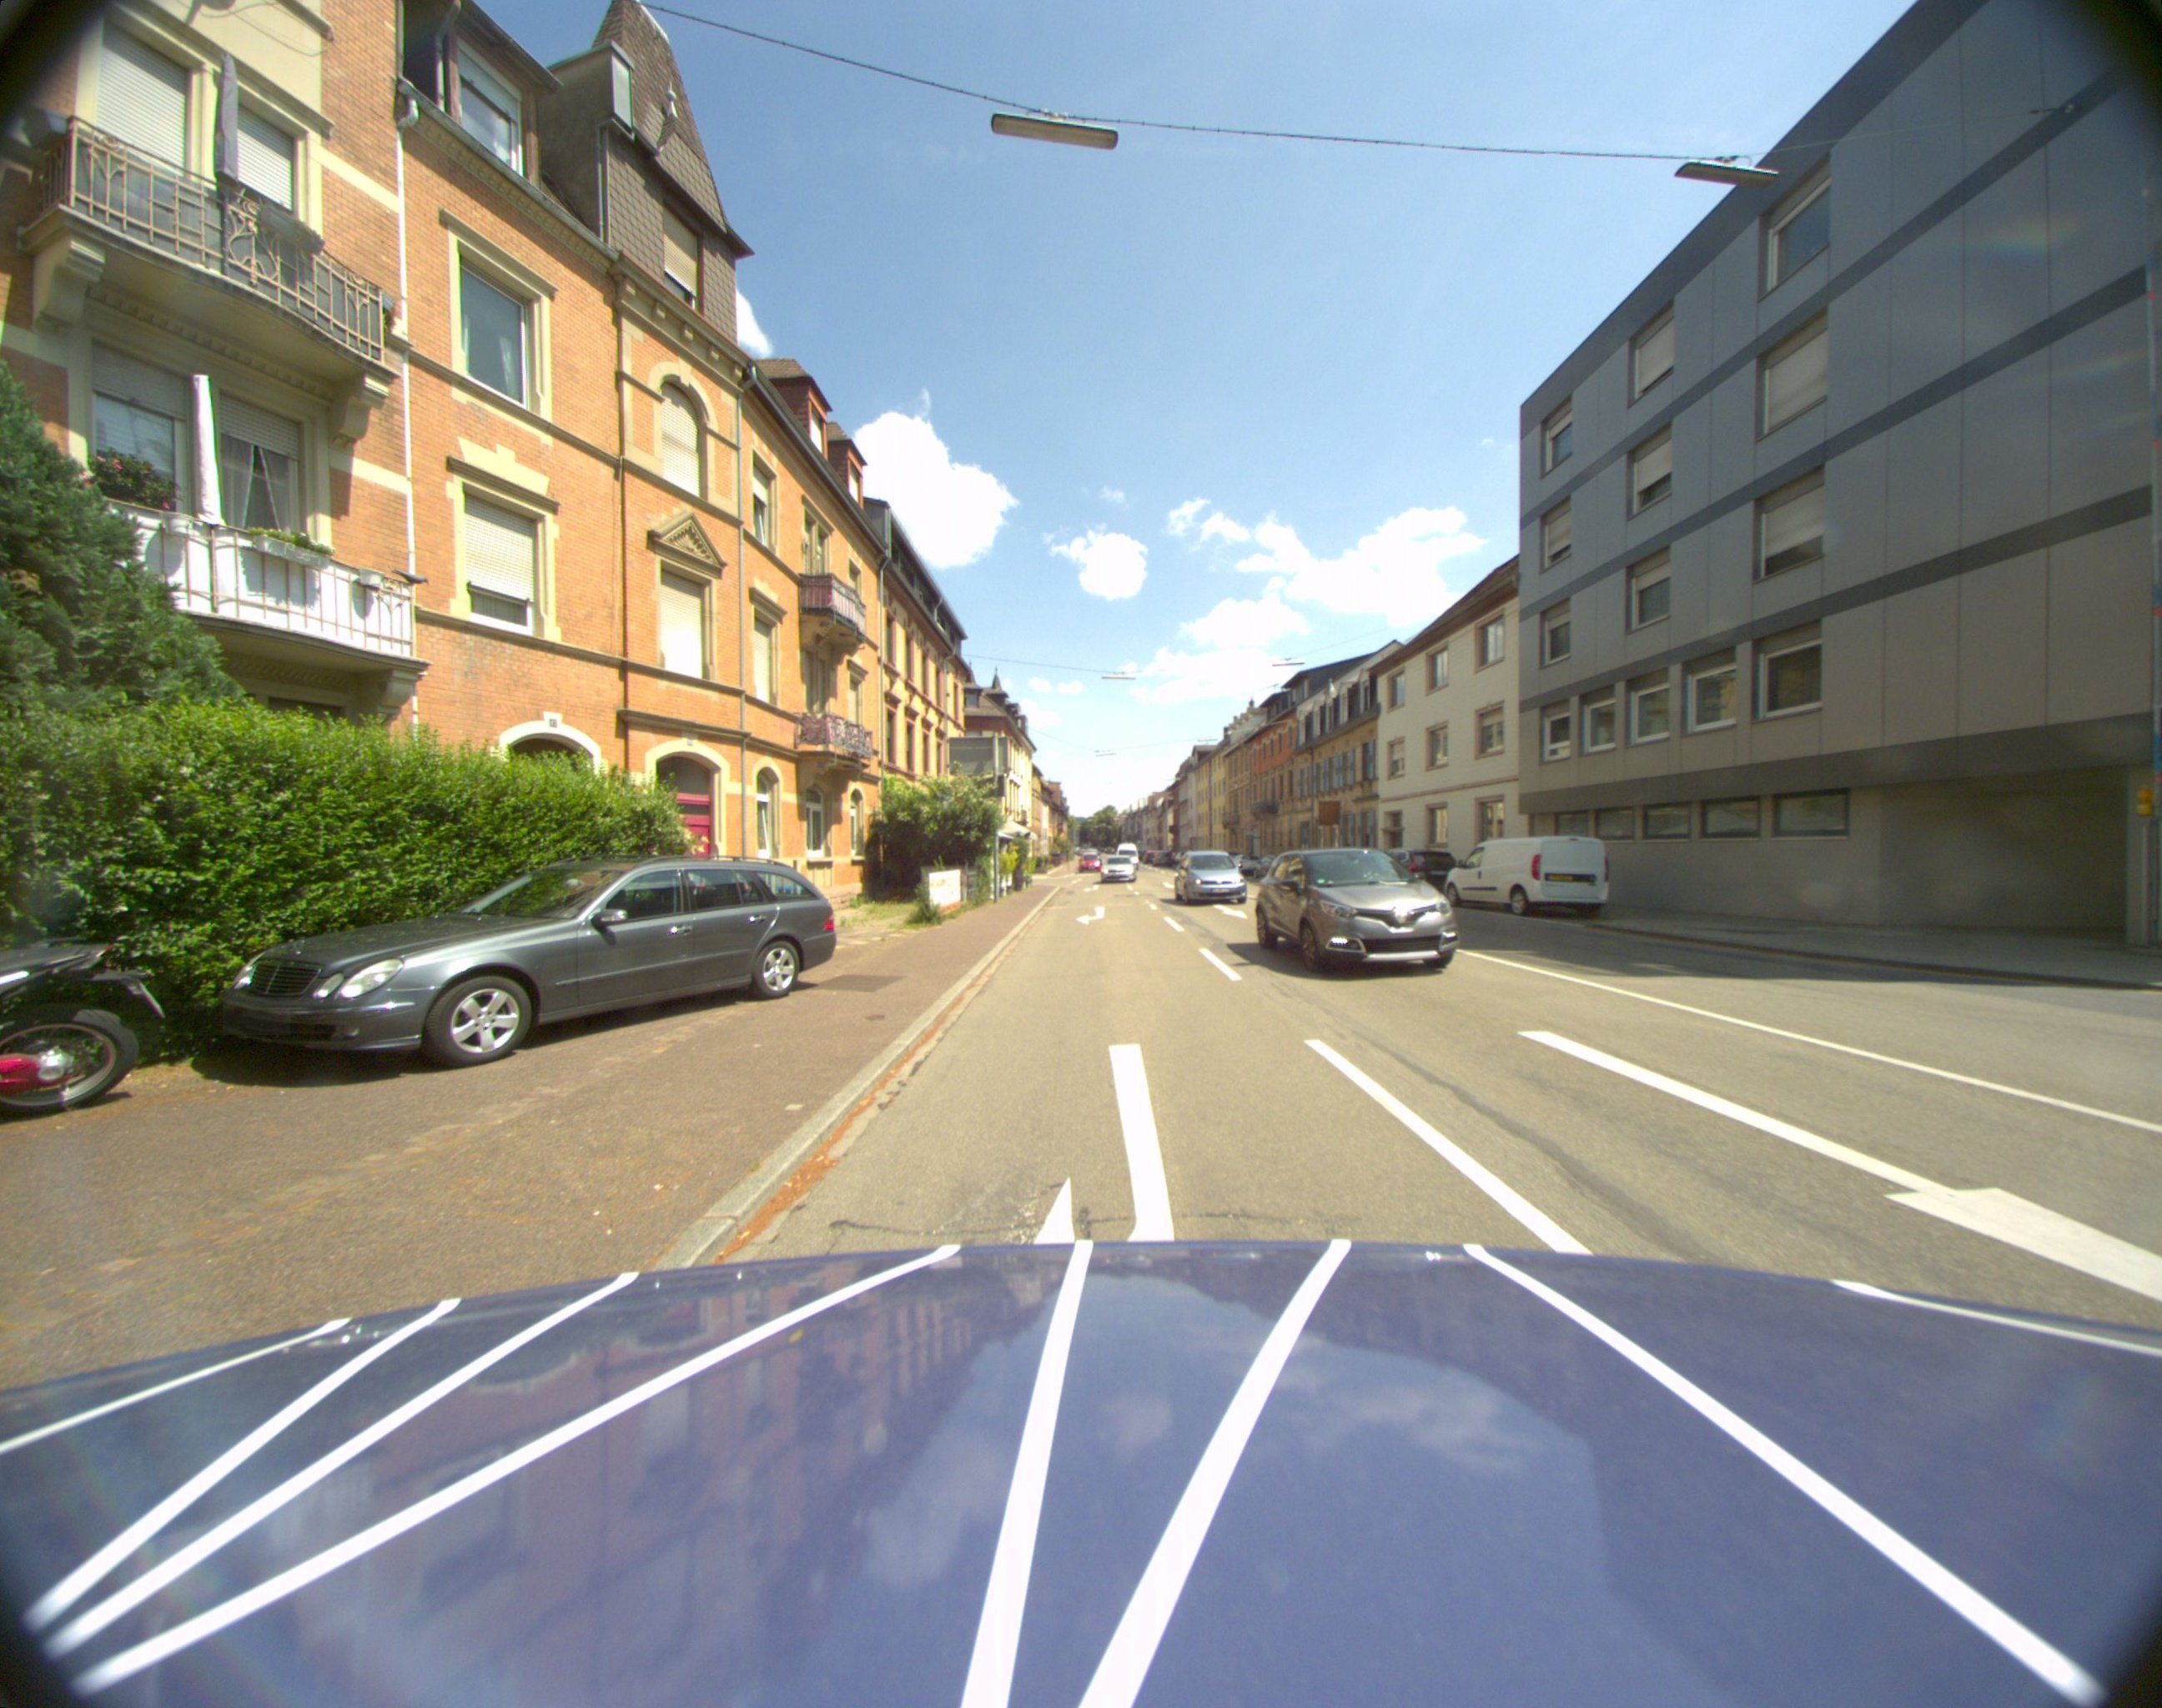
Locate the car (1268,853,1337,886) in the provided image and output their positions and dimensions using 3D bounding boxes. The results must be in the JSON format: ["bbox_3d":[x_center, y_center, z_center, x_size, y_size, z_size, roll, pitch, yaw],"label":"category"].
[{"bbox_3d":[11.048,0.712,38.253,1.870,1.398,4.836,3,1,-2],"label":"car"}]

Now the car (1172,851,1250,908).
[{"bbox_3d":[3.883,0.715,23.279,1.758,1.559,4.000,-1,0,1],"label":"car"}]

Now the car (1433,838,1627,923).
[{"bbox_3d":[10.877,0.552,18.924,1.918,1.815,4.787,1,1,-1],"label":"car"}]

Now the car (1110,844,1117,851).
[{"bbox_3d":[8.371,-1.684,195.495,1.708,1.470,3.930,-3,1,1],"label":"car"}]

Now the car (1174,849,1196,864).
[{"bbox_3d":[11.557,0.268,84.512,1.869,1.542,4.313,3,1,1],"label":"car"}]

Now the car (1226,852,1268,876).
[{"bbox_3d":[11.343,0.657,52.181,1.869,1.418,4.330,3,1,0],"label":"car"}]

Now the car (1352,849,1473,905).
[{"bbox_3d":[10.730,0.666,25.007,1.890,1.631,4.662,1,1,-1],"label":"car"}]

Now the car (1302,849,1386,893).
[{"bbox_3d":[10.681,0.617,31.268,1.889,1.631,4.817,1,1,1],"label":"car"}]

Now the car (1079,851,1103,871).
[{"bbox_3d":[0.799,0.577,61.848,1.762,1.470,3.782,-3,1,-2],"label":"car"}]

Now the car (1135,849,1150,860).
[{"bbox_3d":[8.850,0.042,109.155,1.764,1.486,4.245,0,0,0],"label":"car"}]

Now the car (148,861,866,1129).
[{"bbox_3d":[-4.388,0.847,7.115,1.836,1.539,5.165,0,-1,21],"label":"car"}]

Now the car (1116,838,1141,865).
[{"bbox_3d":[4.058,-0.249,65.737,1.905,2.261,5.672,-1,1,1],"label":"car"}]

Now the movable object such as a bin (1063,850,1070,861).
[{"bbox_3d":[-1.749,0.182,92.037,0.753,1.235,0.877,0,1,0],"label":"movable object such as a bin"}]

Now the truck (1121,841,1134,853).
[{"bbox_3d":[10.403,-1.603,169.387,2.323,2.725,8.067,0,1,0],"label":"truck"}]

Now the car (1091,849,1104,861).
[{"bbox_3d":[2.159,0.057,101.177,1.708,1.470,3.930,-3,1,1],"label":"car"}]

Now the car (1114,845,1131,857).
[{"bbox_3d":[5.014,-0.371,92.817,1.904,1.489,4.487,-1,1,2],"label":"car"}]

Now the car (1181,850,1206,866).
[{"bbox_3d":[11.522,0.397,77.862,1.909,1.443,4.686,3,1,1],"label":"car"}]

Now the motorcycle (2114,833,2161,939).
[{"bbox_3d":[15.851,0.422,10.288,2.037,1.463,0.884,-1,1,39],"label":"motorcycle"}]

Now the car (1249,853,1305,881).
[{"bbox_3d":[11.170,0.700,43.651,1.870,1.398,4.329,3,1,-3],"label":"car"}]

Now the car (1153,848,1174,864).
[{"bbox_3d":[8.210,0.205,75.528,1.706,1.565,4.312,0,0,1],"label":"car"}]

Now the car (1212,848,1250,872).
[{"bbox_3d":[11.239,0.410,57.249,1.869,1.618,4.499,3,1,-1],"label":"car"}]

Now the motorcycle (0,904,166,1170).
[{"bbox_3d":[-6.114,0.945,3.474,0.931,1.295,2.285,0,0,22],"label":"motorcycle"}]

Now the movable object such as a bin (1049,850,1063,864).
[{"bbox_3d":[-2.492,0.280,74.786,1.285,1.388,1.413,0,1,2],"label":"movable object such as a bin"}]

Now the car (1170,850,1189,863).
[{"bbox_3d":[11.569,0.320,89.312,1.749,1.403,3.915,3,1,2],"label":"car"}]

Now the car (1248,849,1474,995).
[{"bbox_3d":[3.629,0.768,10.657,1.758,1.622,4.000,-2,0,2],"label":"car"}]

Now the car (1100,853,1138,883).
[{"bbox_3d":[1.988,0.702,41.065,1.905,1.489,4.487,-1,1,1],"label":"car"}]

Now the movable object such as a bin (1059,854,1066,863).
[{"bbox_3d":[-1.954,0.452,80.452,0.626,0.923,0.612,0,1,0],"label":"movable object such as a bin"}]

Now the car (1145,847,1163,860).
[{"bbox_3d":[8.362,-0.075,87.121,1.706,1.469,4.133,0,0,1],"label":"car"}]

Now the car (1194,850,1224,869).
[{"bbox_3d":[11.556,0.446,68.992,1.869,1.542,4.499,3,1,-1],"label":"car"}]
